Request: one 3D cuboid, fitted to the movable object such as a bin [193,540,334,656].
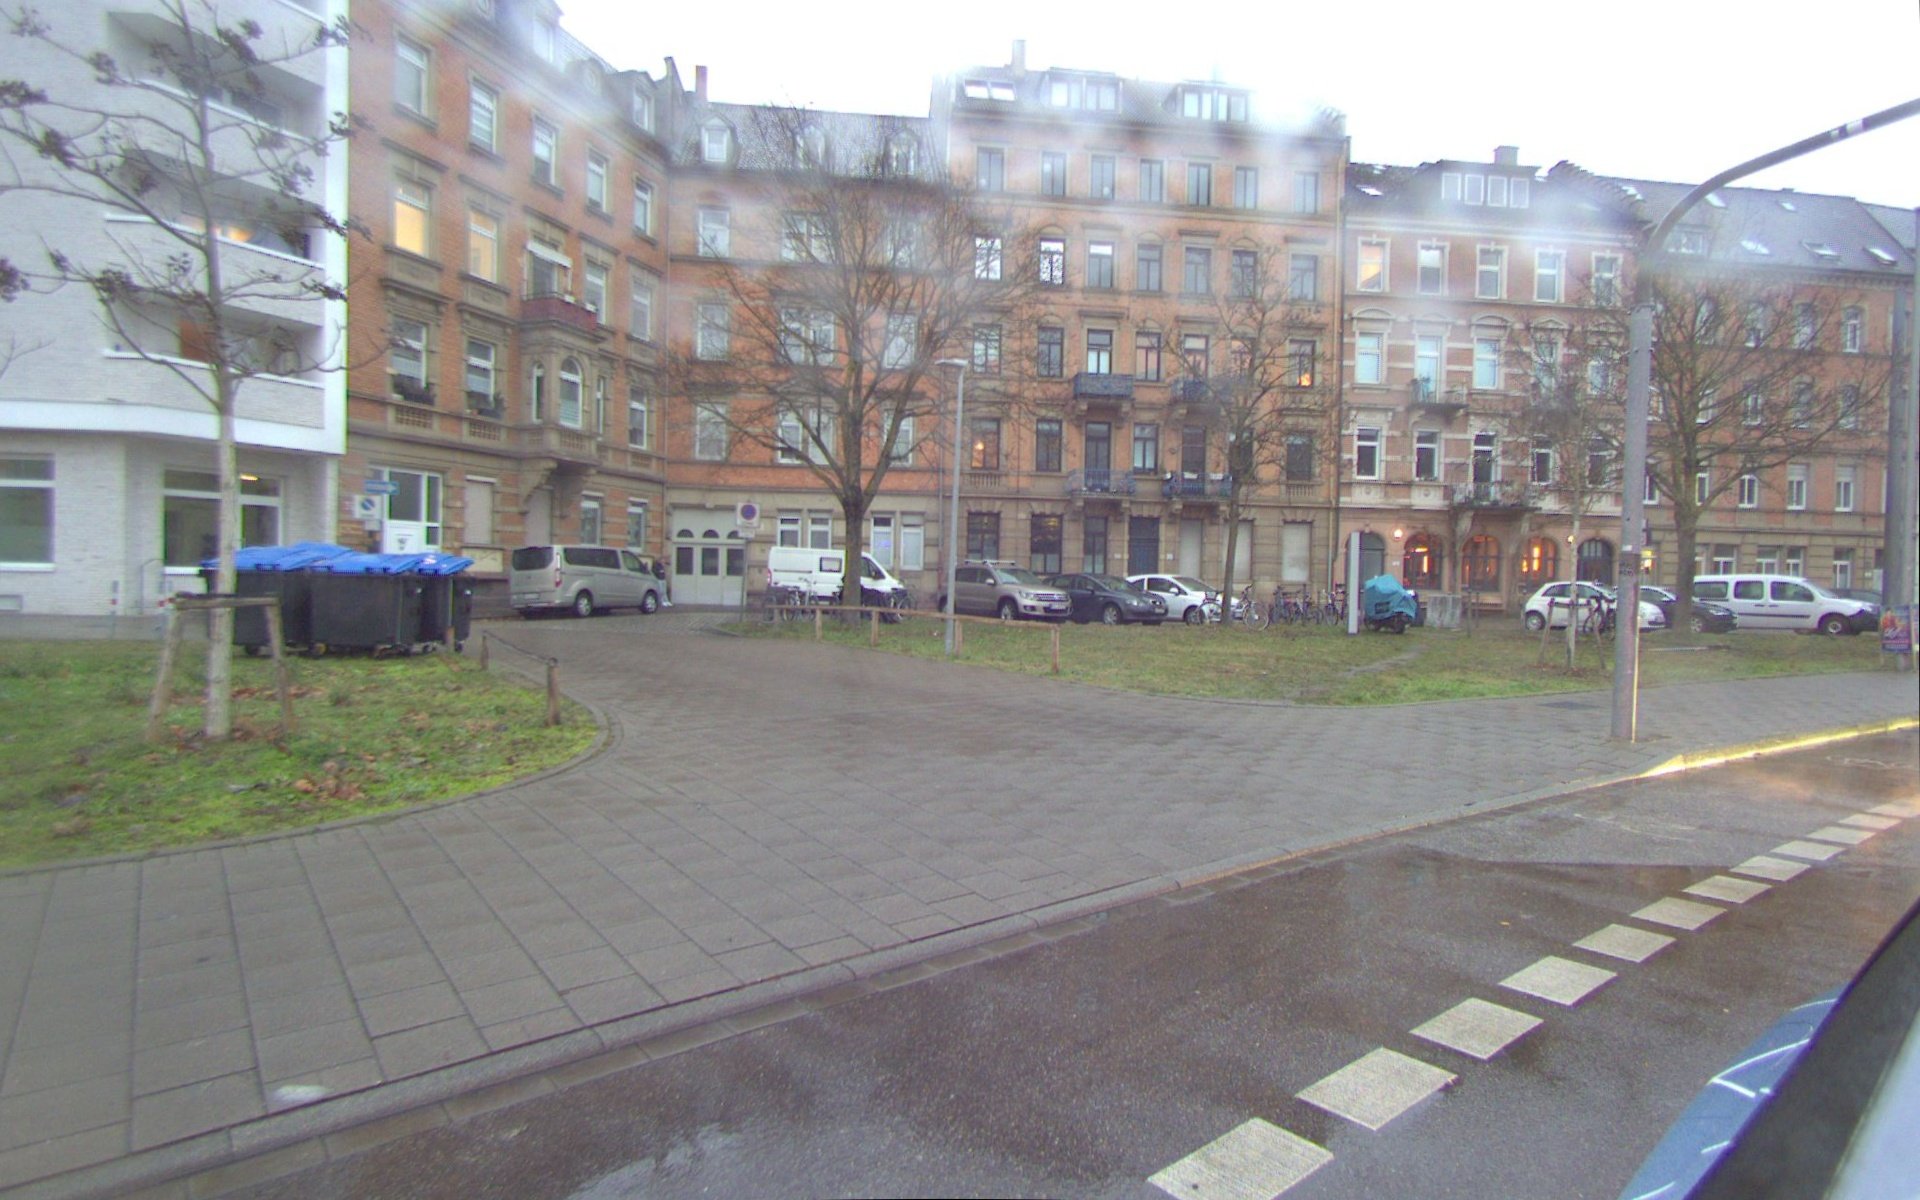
[{"bbox_3d":[-9.619,-0.041,14.035,1.229,1.529,1.053,1,1,-1],"label":"movable object such as a bin"}]

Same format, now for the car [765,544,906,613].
[{"bbox_3d":[-4.245,-0.726,34.449,4.565,2.216,2.003,1,1,-8],"label":"car"}]

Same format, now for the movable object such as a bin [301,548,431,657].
[{"bbox_3d":[-8.314,0.028,14.218,1.201,1.450,1.053,1,1,-1],"label":"movable object such as a bin"}]

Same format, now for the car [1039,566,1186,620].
[{"bbox_3d":[3.929,-0.217,26.539,1.710,1.322,3.687,0,1,-37],"label":"car"}]

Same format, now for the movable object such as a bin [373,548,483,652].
[{"bbox_3d":[-8.035,-0.009,15.338,1.118,1.504,1.053,1,1,-1],"label":"movable object such as a bin"}]

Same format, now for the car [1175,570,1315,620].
[{"bbox_3d":[8.038,-0.171,28.830,1.493,1.322,3.687,0,1,-37],"label":"car"}]

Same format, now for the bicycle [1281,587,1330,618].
[{"bbox_3d":[10.021,0.048,29.445,0.436,0.787,1.800,1,3,-13],"label":"bicycle"}]

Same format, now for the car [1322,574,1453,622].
[{"bbox_3d":[12.748,-0.086,30.325,1.492,1.322,3.301,0,1,-36],"label":"car"}]

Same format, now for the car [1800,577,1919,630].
[{"bbox_3d":[27.161,0.083,29.360,1.668,1.463,3.968,1,1,-31],"label":"car"}]

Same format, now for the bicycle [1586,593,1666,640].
[{"bbox_3d":[15.553,0.365,23.688,0.437,0.942,1.799,1,3,-8],"label":"bicycle"}]

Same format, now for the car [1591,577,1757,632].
[{"bbox_3d":[20.902,0.088,29.730,1.492,1.455,3.688,0,1,-36],"label":"car"}]

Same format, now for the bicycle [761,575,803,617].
[{"bbox_3d":[-4.468,-0.103,25.302,0.437,0.942,1.798,0,3,-30],"label":"bicycle"}]

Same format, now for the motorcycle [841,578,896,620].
[{"bbox_3d":[-2.321,-0.037,25.447,0.503,0.942,1.796,0,3,-36],"label":"motorcycle"}]

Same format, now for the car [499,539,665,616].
[{"bbox_3d":[-10.532,-0.638,28.597,1.919,1.966,4.569,1,1,20],"label":"car"}]

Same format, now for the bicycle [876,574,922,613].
[{"bbox_3d":[-1.669,-0.184,27.389,0.437,0.942,1.798,0,3,-30],"label":"bicycle"}]

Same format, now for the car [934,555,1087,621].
[{"bbox_3d":[1.230,-0.349,26.438,1.710,1.589,4.155,0,1,-37],"label":"car"}]

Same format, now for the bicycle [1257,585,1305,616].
[{"bbox_3d":[9.343,-0.002,29.507,0.436,0.804,1.800,1,3,-13],"label":"bicycle"}]

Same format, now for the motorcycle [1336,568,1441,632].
[{"bbox_3d":[10.362,-0.040,24.598,0.866,1.362,2.364,0,4,-22],"label":"motorcycle"}]

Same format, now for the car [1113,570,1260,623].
[{"bbox_3d":[6.063,-0.133,27.421,1.638,1.322,3.687,0,1,-37],"label":"car"}]

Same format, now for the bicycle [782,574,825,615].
[{"bbox_3d":[-3.980,-0.160,25.607,0.437,0.942,1.798,0,3,-30],"label":"bicycle"}]

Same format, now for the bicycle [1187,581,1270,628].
[{"bbox_3d":[6.468,0.095,24.480,1.879,1.031,0.535,2,3,14],"label":"bicycle"}]

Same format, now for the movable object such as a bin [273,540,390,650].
[{"bbox_3d":[-9.545,-0.080,15.420,1.118,1.595,1.053,1,1,-1],"label":"movable object such as a bin"}]

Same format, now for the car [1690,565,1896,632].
[{"bbox_3d":[24.147,-0.087,29.490,1.748,1.790,4.344,0,1,-37],"label":"car"}]

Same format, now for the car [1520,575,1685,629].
[{"bbox_3d":[18.324,0.010,28.984,1.492,1.417,3.688,0,1,-36],"label":"car"}]

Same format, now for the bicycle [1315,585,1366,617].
[{"bbox_3d":[11.162,0.023,29.766,0.386,0.827,1.800,1,3,-16],"label":"bicycle"}]
